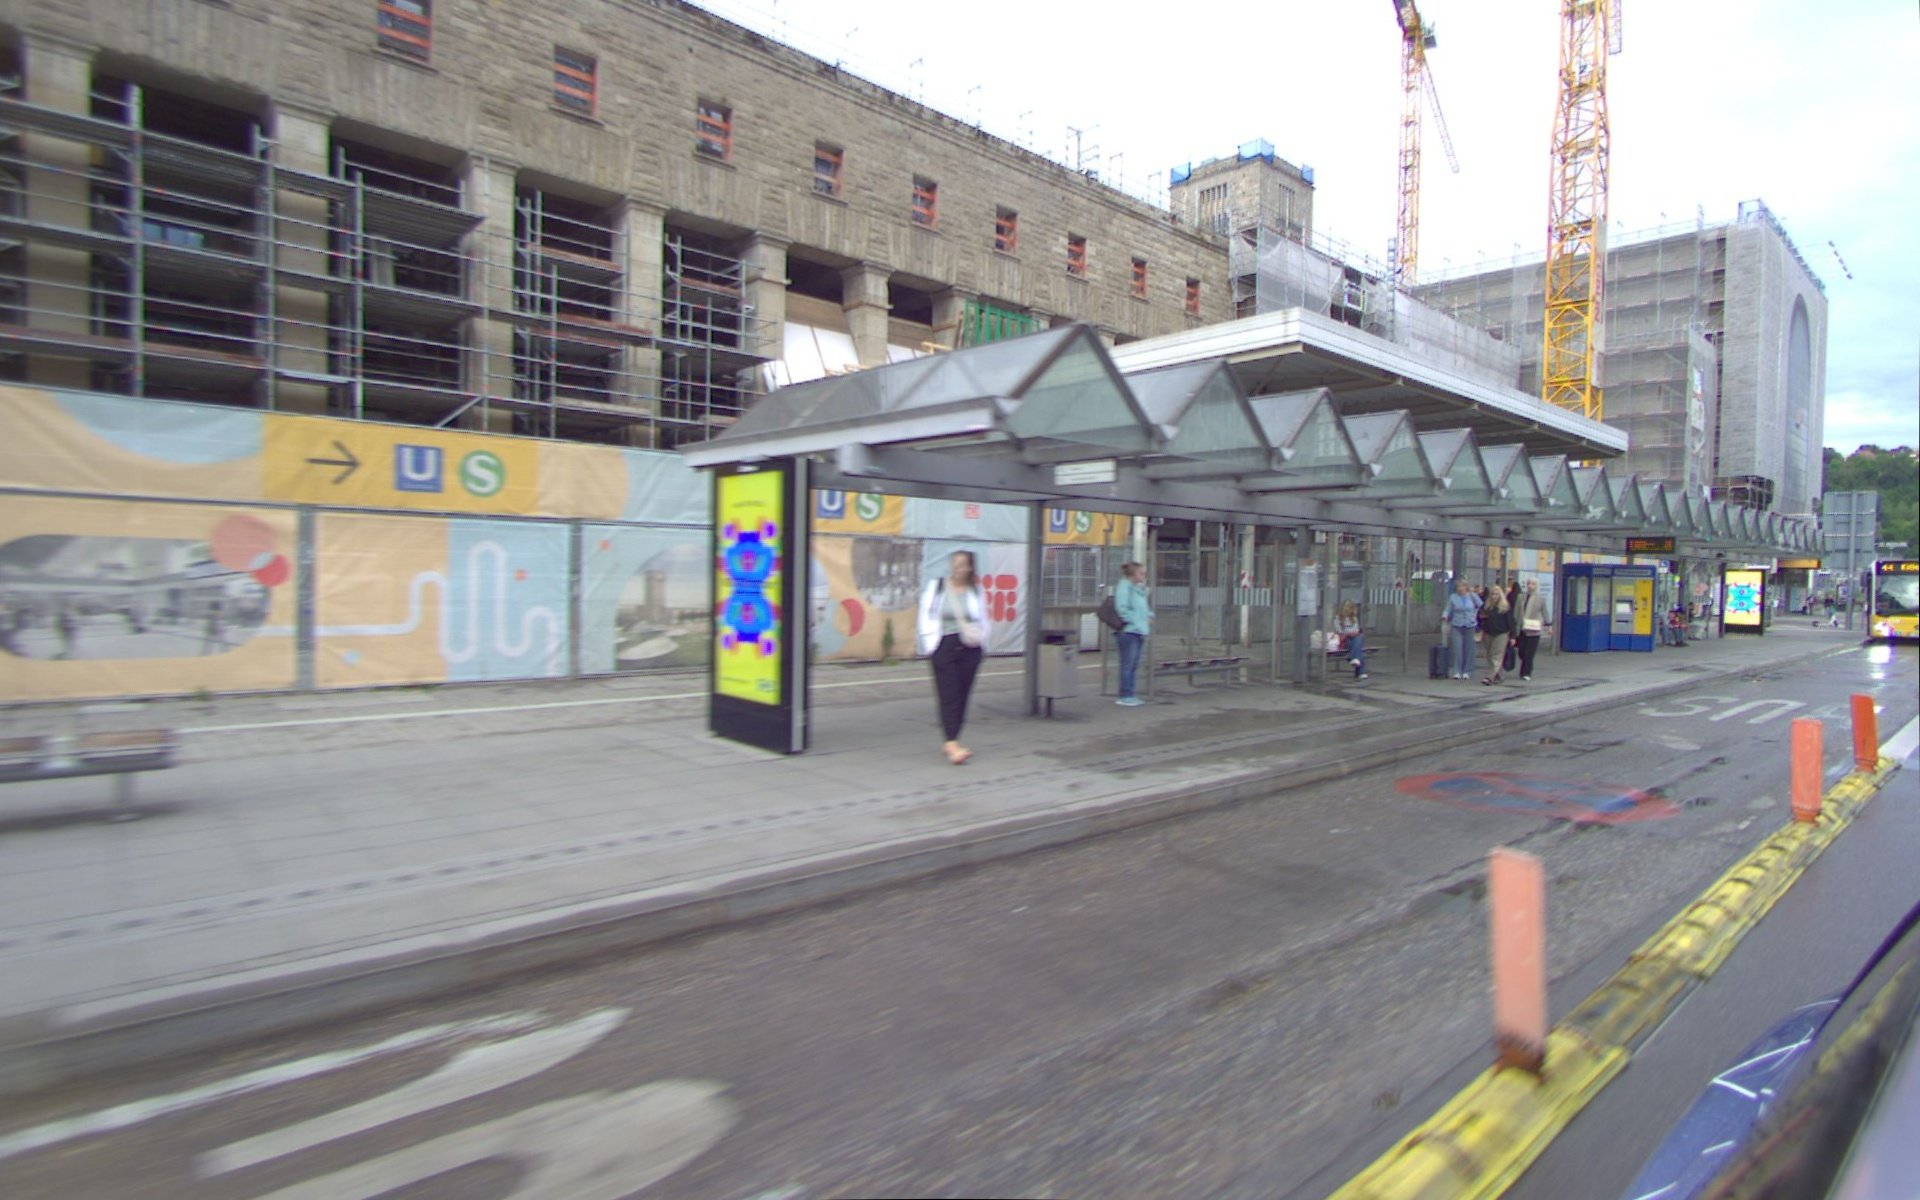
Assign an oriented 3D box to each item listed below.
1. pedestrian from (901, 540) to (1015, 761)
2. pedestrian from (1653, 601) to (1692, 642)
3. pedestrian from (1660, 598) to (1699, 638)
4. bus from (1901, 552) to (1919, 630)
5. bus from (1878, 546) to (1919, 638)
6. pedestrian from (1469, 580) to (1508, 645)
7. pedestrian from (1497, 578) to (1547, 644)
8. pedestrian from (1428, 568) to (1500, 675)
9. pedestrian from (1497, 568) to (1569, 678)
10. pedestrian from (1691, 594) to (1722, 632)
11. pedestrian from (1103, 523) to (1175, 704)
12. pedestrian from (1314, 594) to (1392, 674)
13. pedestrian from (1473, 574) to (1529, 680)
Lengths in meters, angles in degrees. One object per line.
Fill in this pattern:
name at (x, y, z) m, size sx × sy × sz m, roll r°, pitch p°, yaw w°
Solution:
pedestrian at (-0.008, 0.375, 8.286) m, size 0.695 × 1.700 × 0.718 m, roll 2°, pitch 1°, yaw 21°
pedestrian at (19.725, 0.592, 28.002) m, size 0.697 × 1.078 × 0.728 m, roll 0°, pitch 2°, yaw -42°
pedestrian at (20.280, 0.500, 28.521) m, size 0.794 × 1.078 × 0.728 m, roll 0°, pitch 2°, yaw -42°
bus at (42.114, -0.400, 42.837) m, size 8.927 × 3.107 × 2.758 m, roll -1°, pitch 1°, yaw -43°
bus at (35.635, -0.321, 36.727) m, size 8.842 × 3.104 × 2.758 m, roll -1°, pitch 1°, yaw -43°
pedestrian at (13.828, 0.314, 26.460) m, size 0.706 × 1.627 × 0.719 m, roll 3°, pitch 2°, yaw 41°
pedestrian at (14.230, 0.265, 25.633) m, size 0.732 × 1.627 × 0.907 m, roll 1°, pitch 0°, yaw -41°
pedestrian at (8.182, 0.333, 16.423) m, size 0.791 × 1.681 × 0.809 m, roll 0°, pitch 0°, yaw -42°
pedestrian at (9.371, 0.354, 16.551) m, size 0.808 × 1.714 × 0.763 m, roll 0°, pitch 1°, yaw -43°
pedestrian at (23.944, 0.407, 32.456) m, size 0.654 × 1.201 × 0.666 m, roll 0°, pitch 2°, yaw -42°
pedestrian at (2.126, 0.144, 12.107) m, size 0.791 × 2.076 × 0.925 m, roll 0°, pitch 0°, yaw 8°
pedestrian at (6.393, 0.533, 16.466) m, size 0.826 × 1.246 × 0.914 m, roll 1°, pitch 0°, yaw -42°
pedestrian at (8.306, 0.398, 15.539) m, size 0.716 × 1.585 × 0.521 m, roll 0°, pitch 1°, yaw -43°
